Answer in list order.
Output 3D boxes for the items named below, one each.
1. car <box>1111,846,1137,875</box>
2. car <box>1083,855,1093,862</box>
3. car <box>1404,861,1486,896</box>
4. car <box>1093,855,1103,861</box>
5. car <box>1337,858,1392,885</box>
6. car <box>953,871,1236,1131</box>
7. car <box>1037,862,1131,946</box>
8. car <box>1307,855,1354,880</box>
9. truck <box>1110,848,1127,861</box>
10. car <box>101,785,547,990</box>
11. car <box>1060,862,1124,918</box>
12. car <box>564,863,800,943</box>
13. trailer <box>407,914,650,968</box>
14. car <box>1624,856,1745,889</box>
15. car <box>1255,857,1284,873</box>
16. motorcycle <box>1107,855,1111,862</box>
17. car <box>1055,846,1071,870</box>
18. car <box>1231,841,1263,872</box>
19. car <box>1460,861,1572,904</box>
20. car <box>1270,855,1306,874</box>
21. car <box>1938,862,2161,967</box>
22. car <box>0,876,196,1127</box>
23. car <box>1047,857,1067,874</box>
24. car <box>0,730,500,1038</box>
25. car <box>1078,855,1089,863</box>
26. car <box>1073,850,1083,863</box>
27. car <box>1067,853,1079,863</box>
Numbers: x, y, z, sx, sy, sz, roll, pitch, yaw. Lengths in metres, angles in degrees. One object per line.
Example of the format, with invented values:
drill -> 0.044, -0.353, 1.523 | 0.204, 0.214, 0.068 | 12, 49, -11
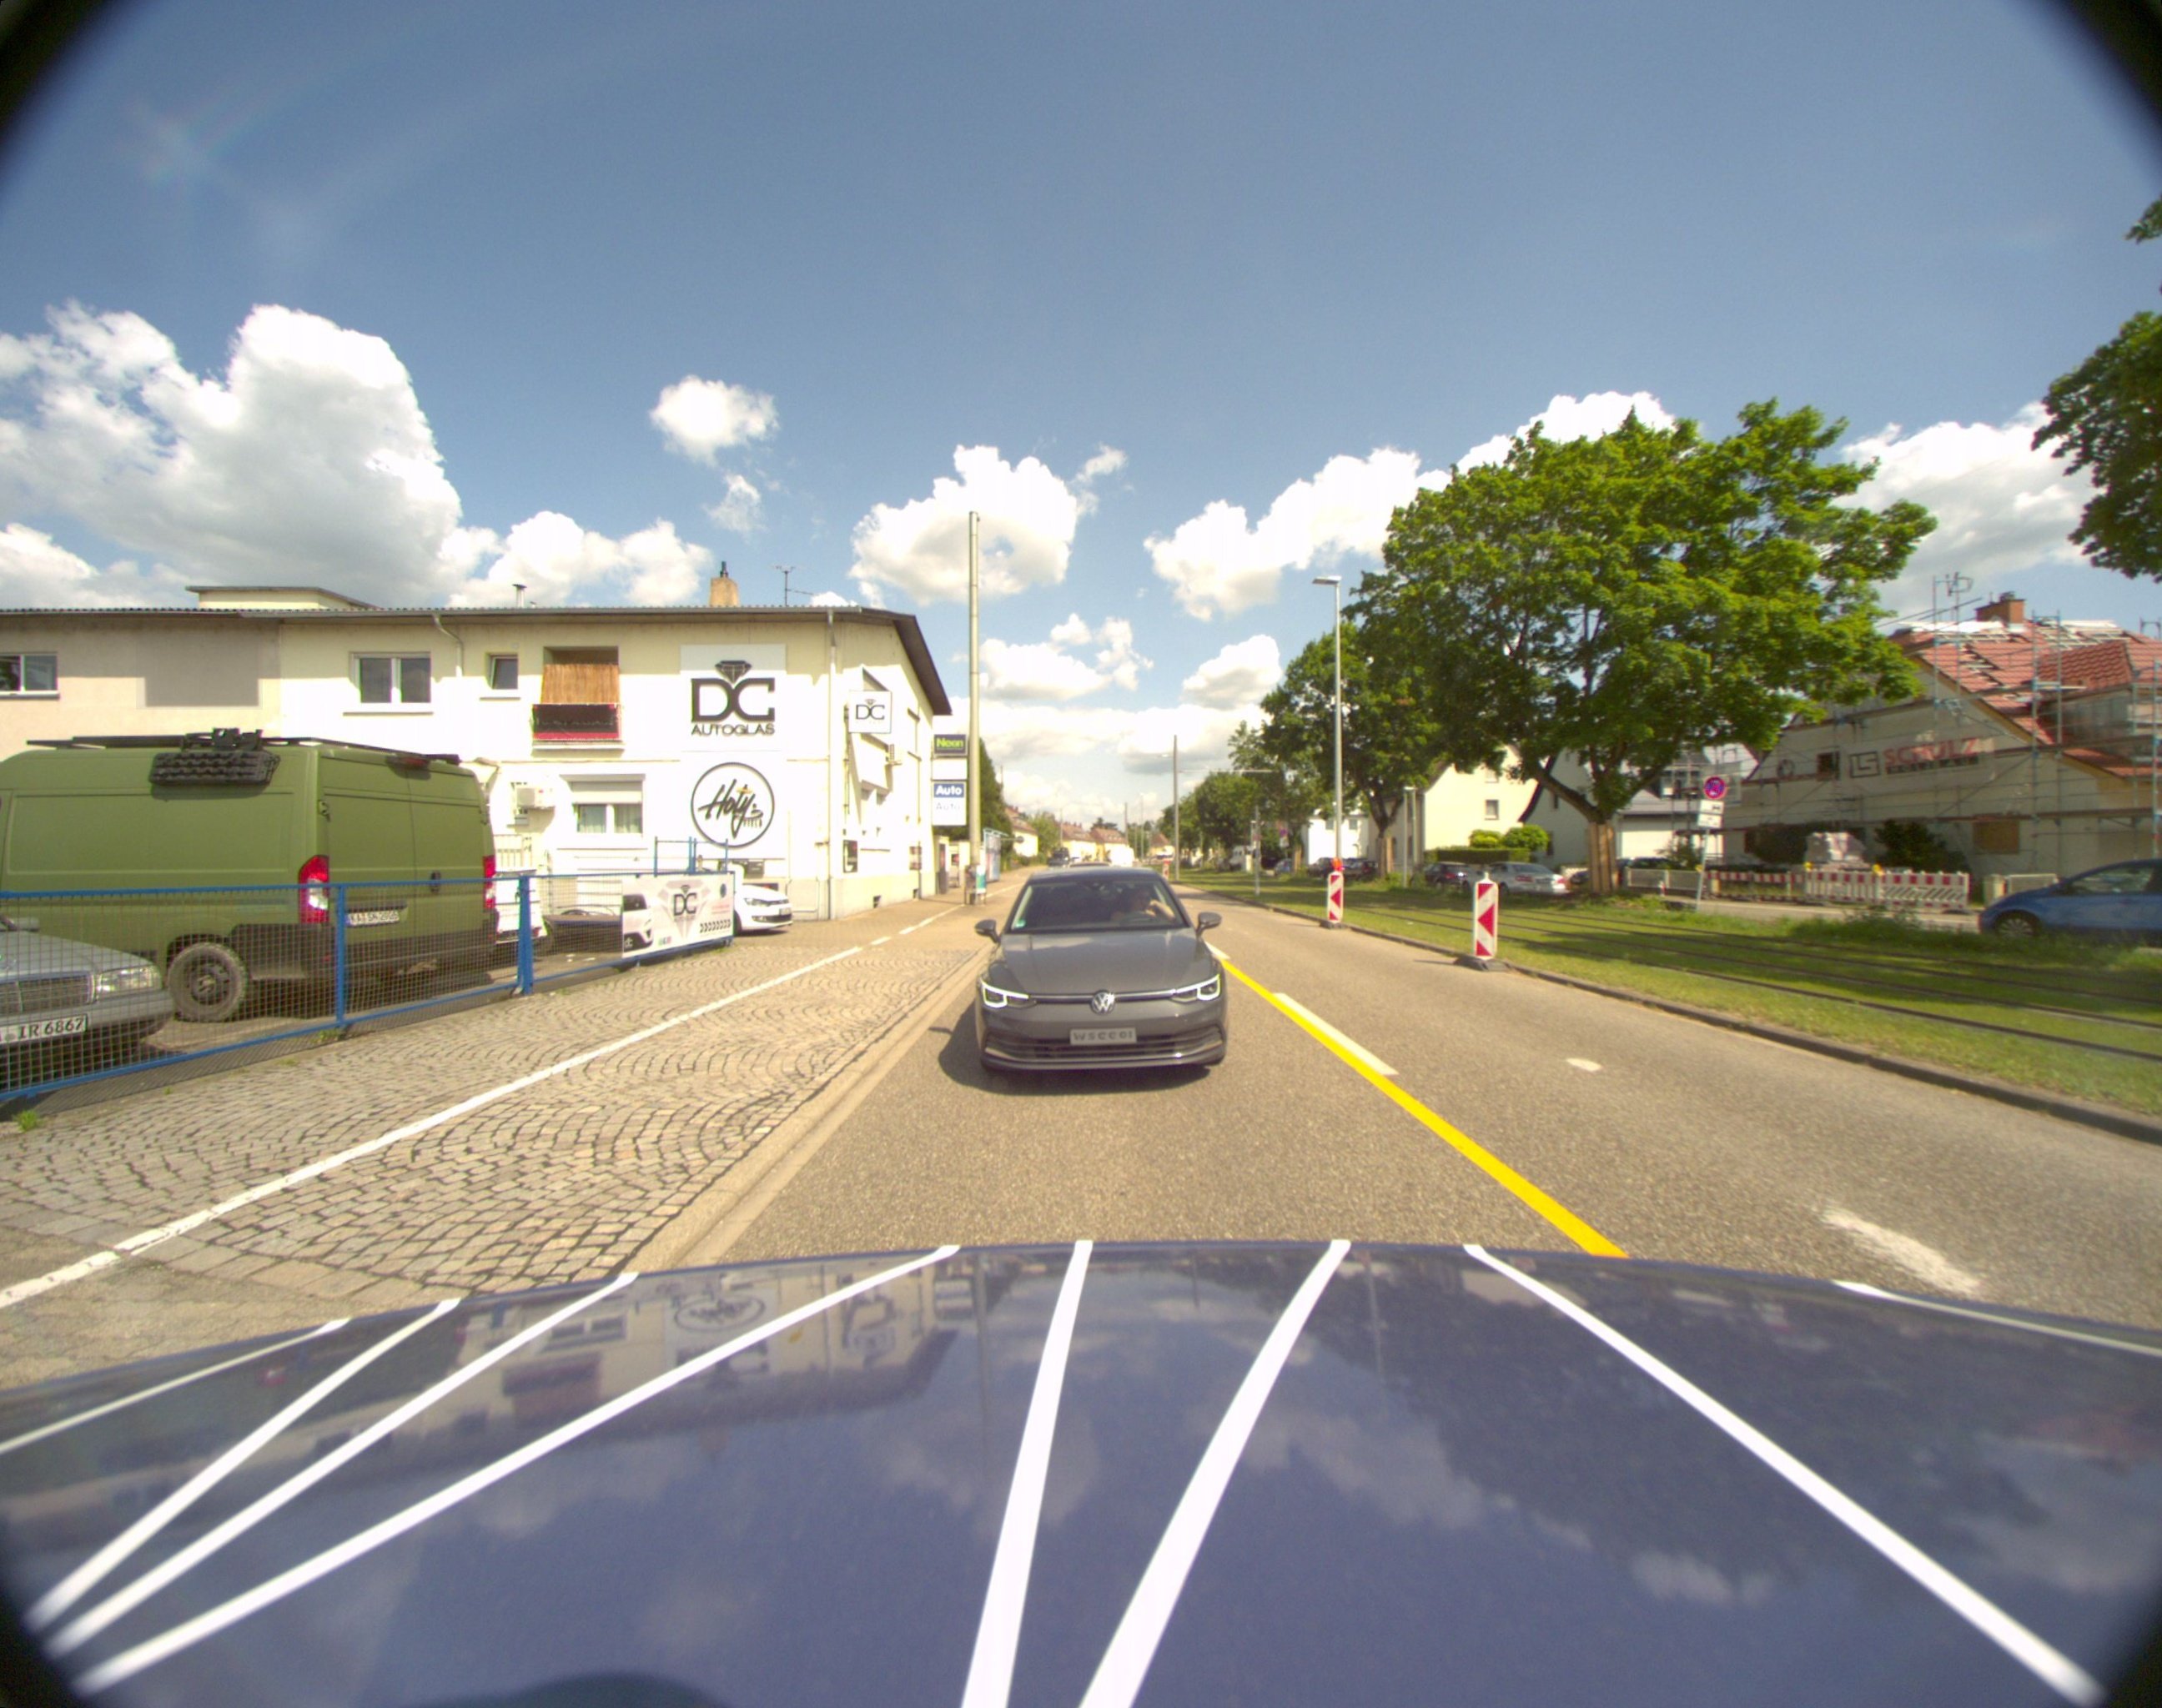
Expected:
car -> 3.844, 0.523, 68.376 | 2.090, 2.449, 5.842 | 2, 0, 2
car -> 1.449, 0.901, 155.837 | 1.701, 1.574, 4.002 | 0, 0, 7
car -> 16.625, 1.117, 34.936 | 1.702, 1.477, 4.407 | -1, -1, 1
car -> 3.854, 0.906, 173.596 | 1.700, 1.574, 4.004 | 0, 0, 12
car -> 16.770, 1.032, 45.154 | 1.702, 1.477, 4.407 | -1, -1, 1
car -> 0.109, 0.934, 6.570 | 1.702, 1.477, 4.000 | 0, 0, 1
car -> 0.078, 0.938, 15.816 | 1.702, 1.477, 4.000 | 0, 0, 1
car -> 16.554, 0.895, 50.660 | 1.702, 1.562, 4.407 | -1, -1, 1
truck -> 9.920, 0.136, 201.050 | 2.710, 3.119, 8.124 | 0, 0, 15
car -> -9.502, 0.401, 9.755 | 4.207, 2.392, 1.586 | 0, 0, 2
car -> 0.328, 0.985, 22.313 | 1.702, 1.477, 4.000 | 0, 0, 1
car -> -7.663, 0.914, 14.817 | 3.775, 1.454, 1.555 | 0, 0, 2
trailer -> -8.369, 1.305, 11.660 | 2.733, 0.662, 1.329 | 0, 0, -1
car -> 28.905, 0.886, 36.509 | 4.402, 1.477, 1.704 | -1, -1, 1
car -> 17.647, 1.073, 71.325 | 1.702, 1.477, 4.407 | -1, -1, 1
motorcycle -> 4.820, 0.767, 129.877 | 0.658, 1.040, 2.111 | 0, 0, 2
car -> -1.911, 0.446, 82.439 | 1.702, 2.510, 5.144 | 0, 0, 0
car -> 16.818, 0.269, 77.270 | 2.136, 3.019, 5.084 | -1, -1, 1
car -> 16.420, 1.063, 28.969 | 1.788, 1.477, 4.523 | -1, -1, 2
car -> 16.645, 0.871, 61.280 | 1.702, 1.477, 4.407 | -1, -1, 1
car -> 16.191, 0.864, 11.398 | 1.702, 1.477, 4.407 | -1, -1, 1
car -> -8.461, 0.887, 4.774 | 4.282, 1.444, 1.713 | 0, 0, 8
car -> -2.184, 1.044, 70.754 | 1.702, 1.574, 4.000 | 0, 0, 1
car -> -8.728, 0.269, 7.610 | 4.207, 2.627, 2.113 | 0, 0, 2
car -> 0.491, 0.898, 146.706 | 1.701, 1.574, 4.002 | 0, 0, 6
car -> -0.483, 0.416, 136.402 | 1.701, 2.233, 4.947 | 0, 0, 2
car -> -1.310, 0.668, 123.040 | 1.701, 1.574, 4.001 | 0, 0, 3
